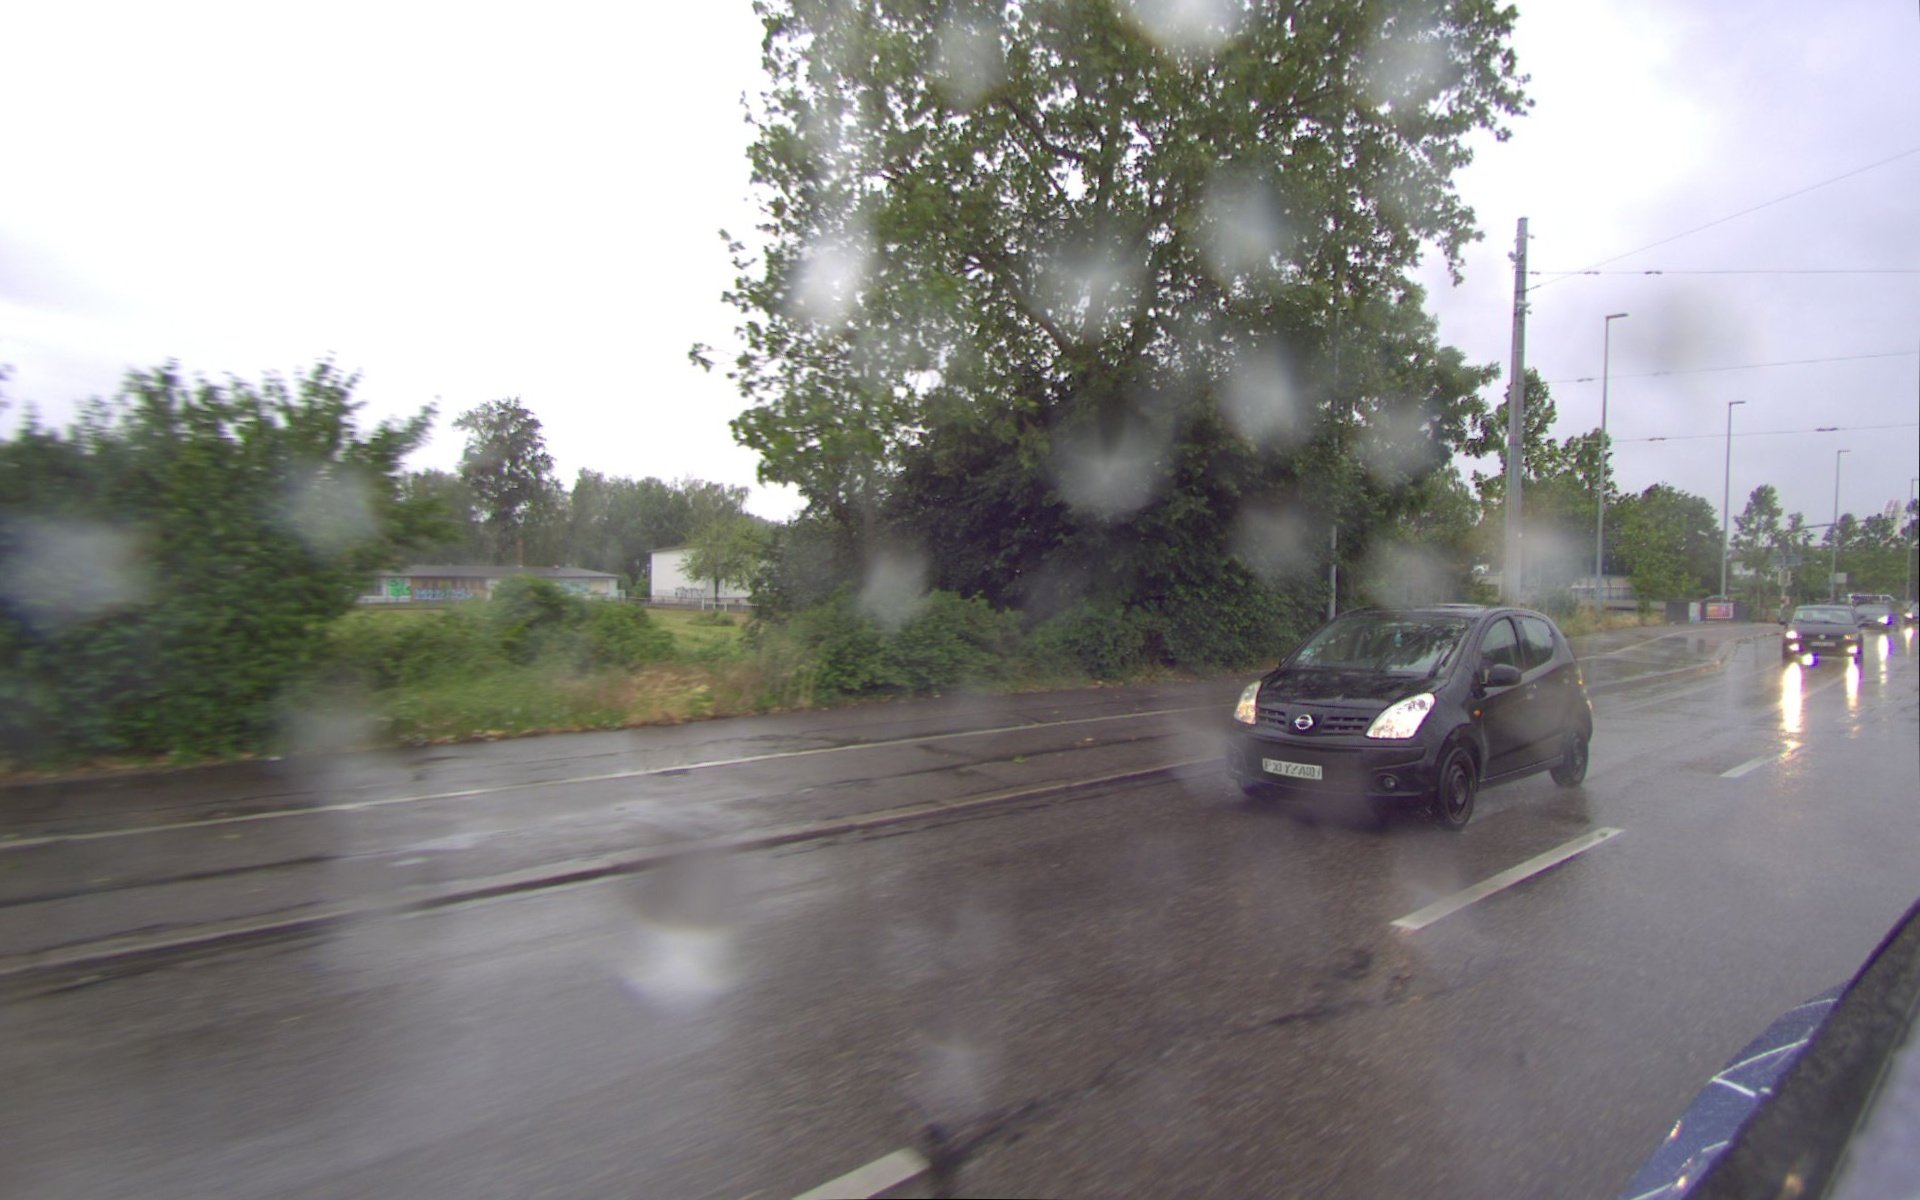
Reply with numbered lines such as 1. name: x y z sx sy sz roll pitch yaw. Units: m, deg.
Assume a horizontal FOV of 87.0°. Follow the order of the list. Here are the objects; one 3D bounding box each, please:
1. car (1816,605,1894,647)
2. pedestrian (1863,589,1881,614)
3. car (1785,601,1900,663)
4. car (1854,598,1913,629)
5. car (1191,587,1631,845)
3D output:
1. car: 35.384 1.029 39.992 3.970 1.544 1.715 1 -1 -40
2. pedestrian: 60.901 0.118 67.558 0.607 1.631 0.734 0 3 -39
3. car: 23.589 0.828 27.001 3.970 1.503 1.715 1 -1 -40
4. car: 48.322 0.692 52.936 4.102 1.544 1.715 1 -1 -40
5. car: 3.683 0.694 7.881 4.024 1.480 1.773 1 -1 -44
